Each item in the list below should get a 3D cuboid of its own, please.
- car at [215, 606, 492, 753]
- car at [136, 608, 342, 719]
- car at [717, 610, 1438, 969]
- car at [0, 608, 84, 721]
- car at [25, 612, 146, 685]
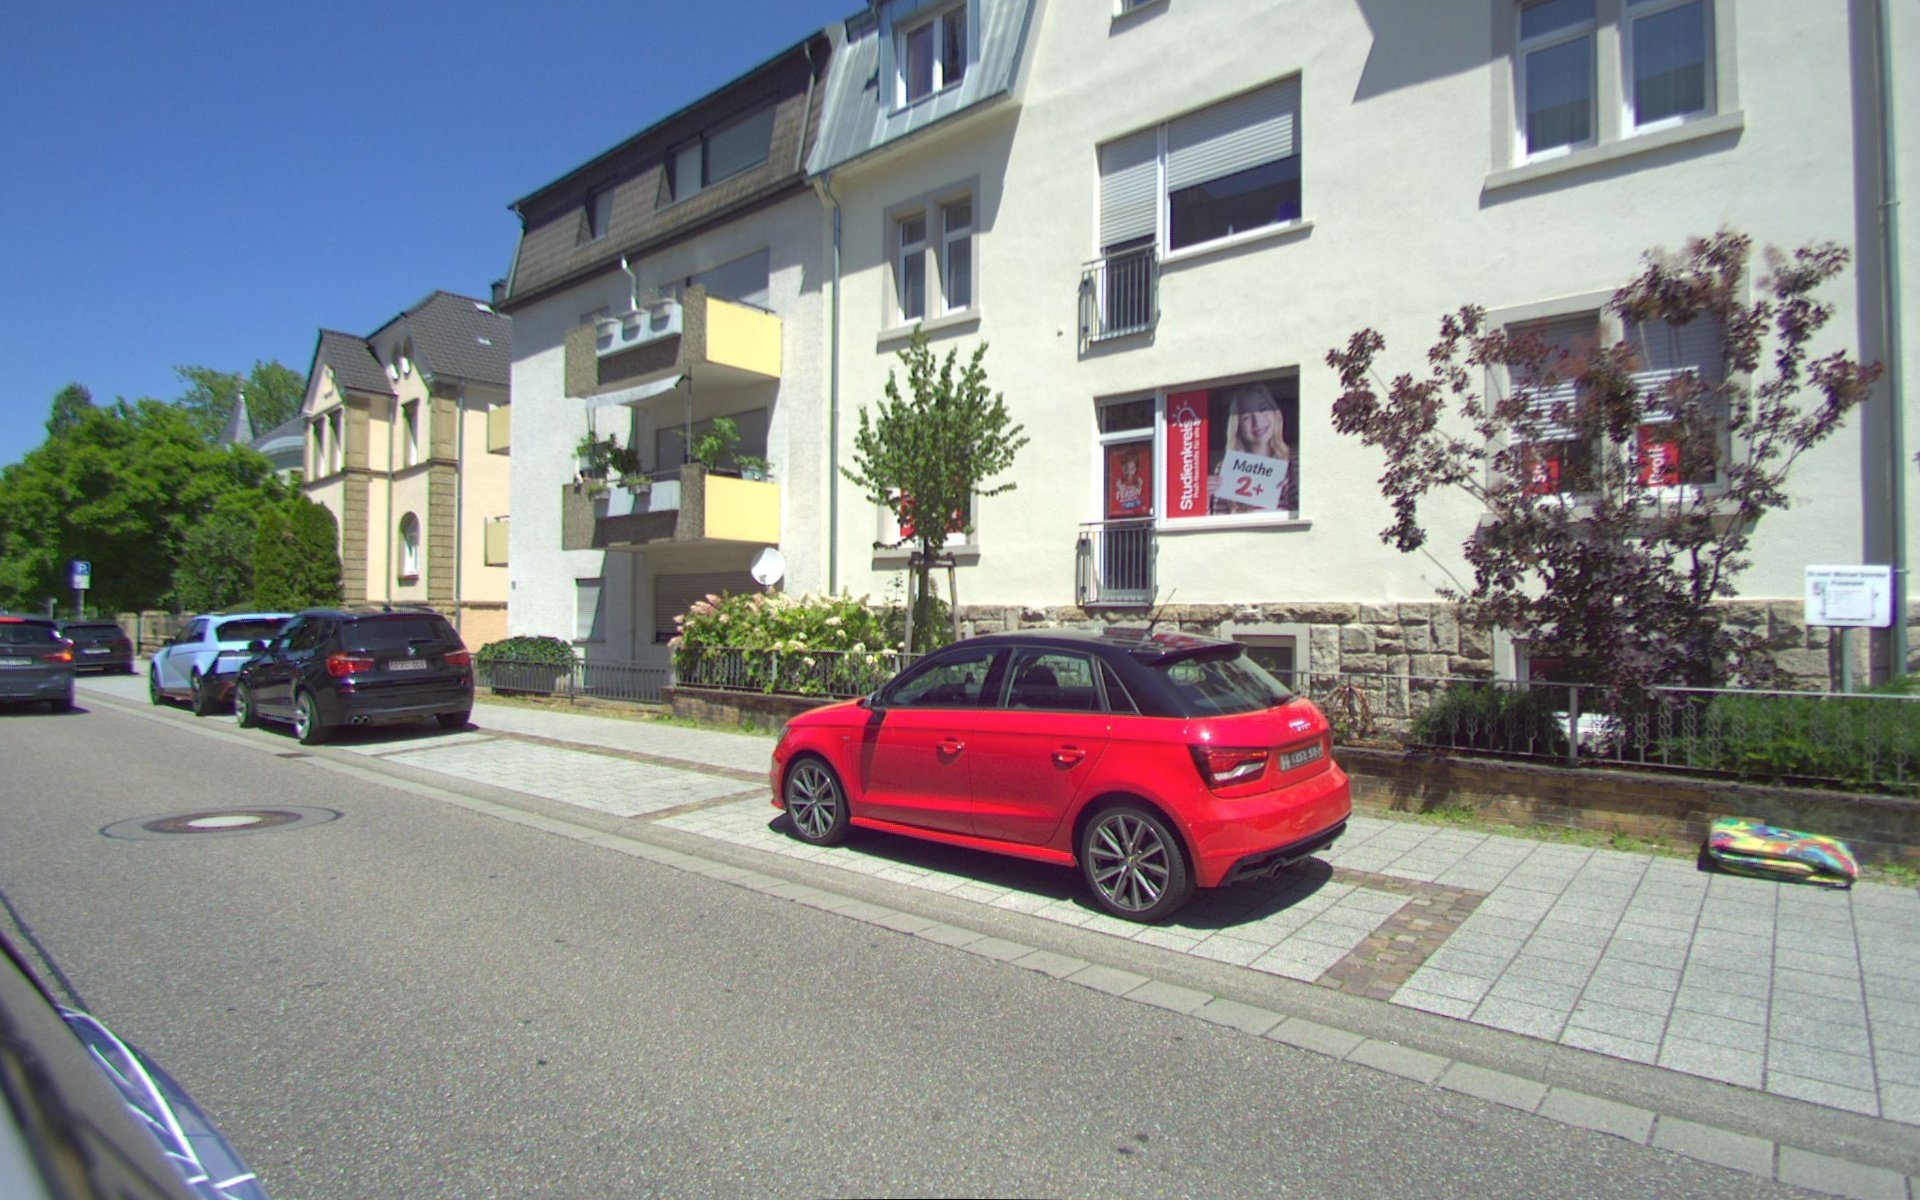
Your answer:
[{"bbox_3d":[-8.222,0.923,13.548,4.433,1.598,1.900,-1,1,41],"label":"car"},{"bbox_3d":[-12.339,0.981,17.218,4.285,1.598,1.900,-1,1,41],"label":"car"},{"bbox_3d":[0.469,0.837,6.342,4.258,1.463,1.714,-1,1,41],"label":"car"},{"bbox_3d":[-16.009,0.983,16.572,4.285,1.690,1.900,-1,-3,41],"label":"car"},{"bbox_3d":[-23.132,1.214,26.724,4.286,1.703,1.900,-1,1,42],"label":"car"}]
